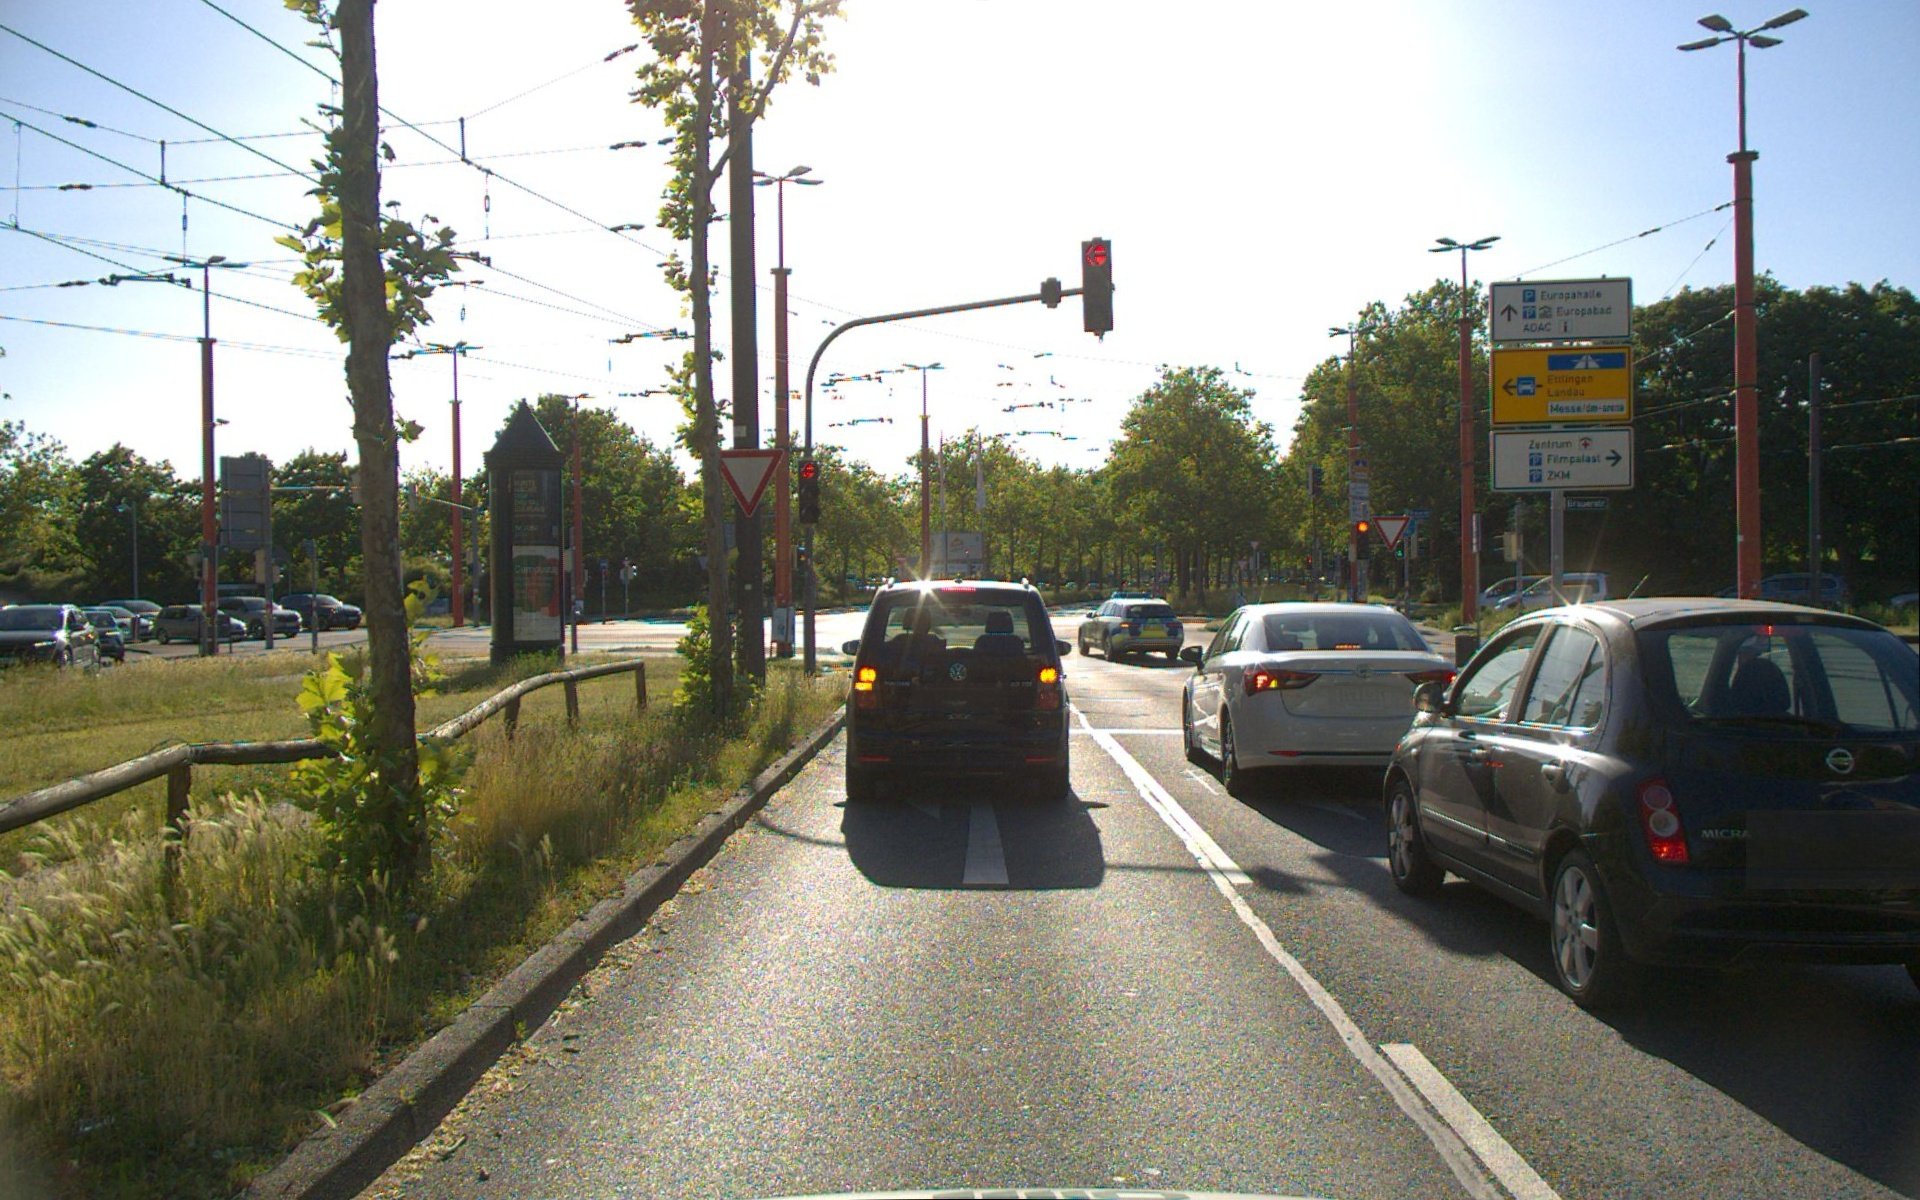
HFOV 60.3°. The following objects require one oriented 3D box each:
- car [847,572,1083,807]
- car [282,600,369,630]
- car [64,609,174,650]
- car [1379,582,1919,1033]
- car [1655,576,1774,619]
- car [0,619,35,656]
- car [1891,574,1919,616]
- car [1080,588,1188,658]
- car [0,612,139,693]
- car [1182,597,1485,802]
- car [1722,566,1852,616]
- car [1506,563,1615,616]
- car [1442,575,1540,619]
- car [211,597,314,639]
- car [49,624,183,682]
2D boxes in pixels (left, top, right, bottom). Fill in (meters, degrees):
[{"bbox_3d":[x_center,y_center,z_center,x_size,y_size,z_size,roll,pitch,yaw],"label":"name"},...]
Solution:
[{"bbox_3d":[0.008,0.628,13.669,1.666,1.650,3.896,0,0,-1],"label":"car"},{"bbox_3d":[-29.047,0.687,75.746,3.913,1.353,1.694,0,0,31],"label":"car"},{"bbox_3d":[-34.286,1.185,67.423,4.091,1.640,1.867,0,0,25],"label":"car"},{"bbox_3d":[3.157,0.703,7.435,1.620,1.526,3.614,1,0,0],"label":"car"},{"bbox_3d":[28.797,-0.089,63.170,4.040,1.537,1.821,1,0,26],"label":"car"},{"bbox_3d":[-41.570,1.577,70.580,3.908,1.540,1.731,0,0,26],"label":"car"},{"bbox_3d":[35.722,-0.155,59.367,3.887,1.466,1.685,1,0,27],"label":"car"},{"bbox_3d":[4.387,0.550,42.219,1.764,1.685,4.106,0,0,-9],"label":"car"},{"bbox_3d":[-18.902,1.048,34.321,1.728,1.538,4.102,0,0,-1],"label":"car"},{"bbox_3d":[2.969,0.709,14.015,1.685,1.463,4.198,0,0,1],"label":"car"},{"bbox_3d":[29.529,-0.325,59.150,4.097,1.673,1.758,1,0,27],"label":"car"},{"bbox_3d":[22.769,-0.387,62.730,3.755,1.923,1.763,1,0,24],"label":"car"},{"bbox_3d":[21.458,-0.125,66.830,3.570,1.684,1.679,1,0,25],"label":"car"},{"bbox_3d":[-28.713,0.731,68.077,3.913,1.673,1.996,0,0,31],"label":"car"},{"bbox_3d":[-24.810,1.534,48.778,1.769,1.549,4.329,0,0,-1],"label":"car"}]
